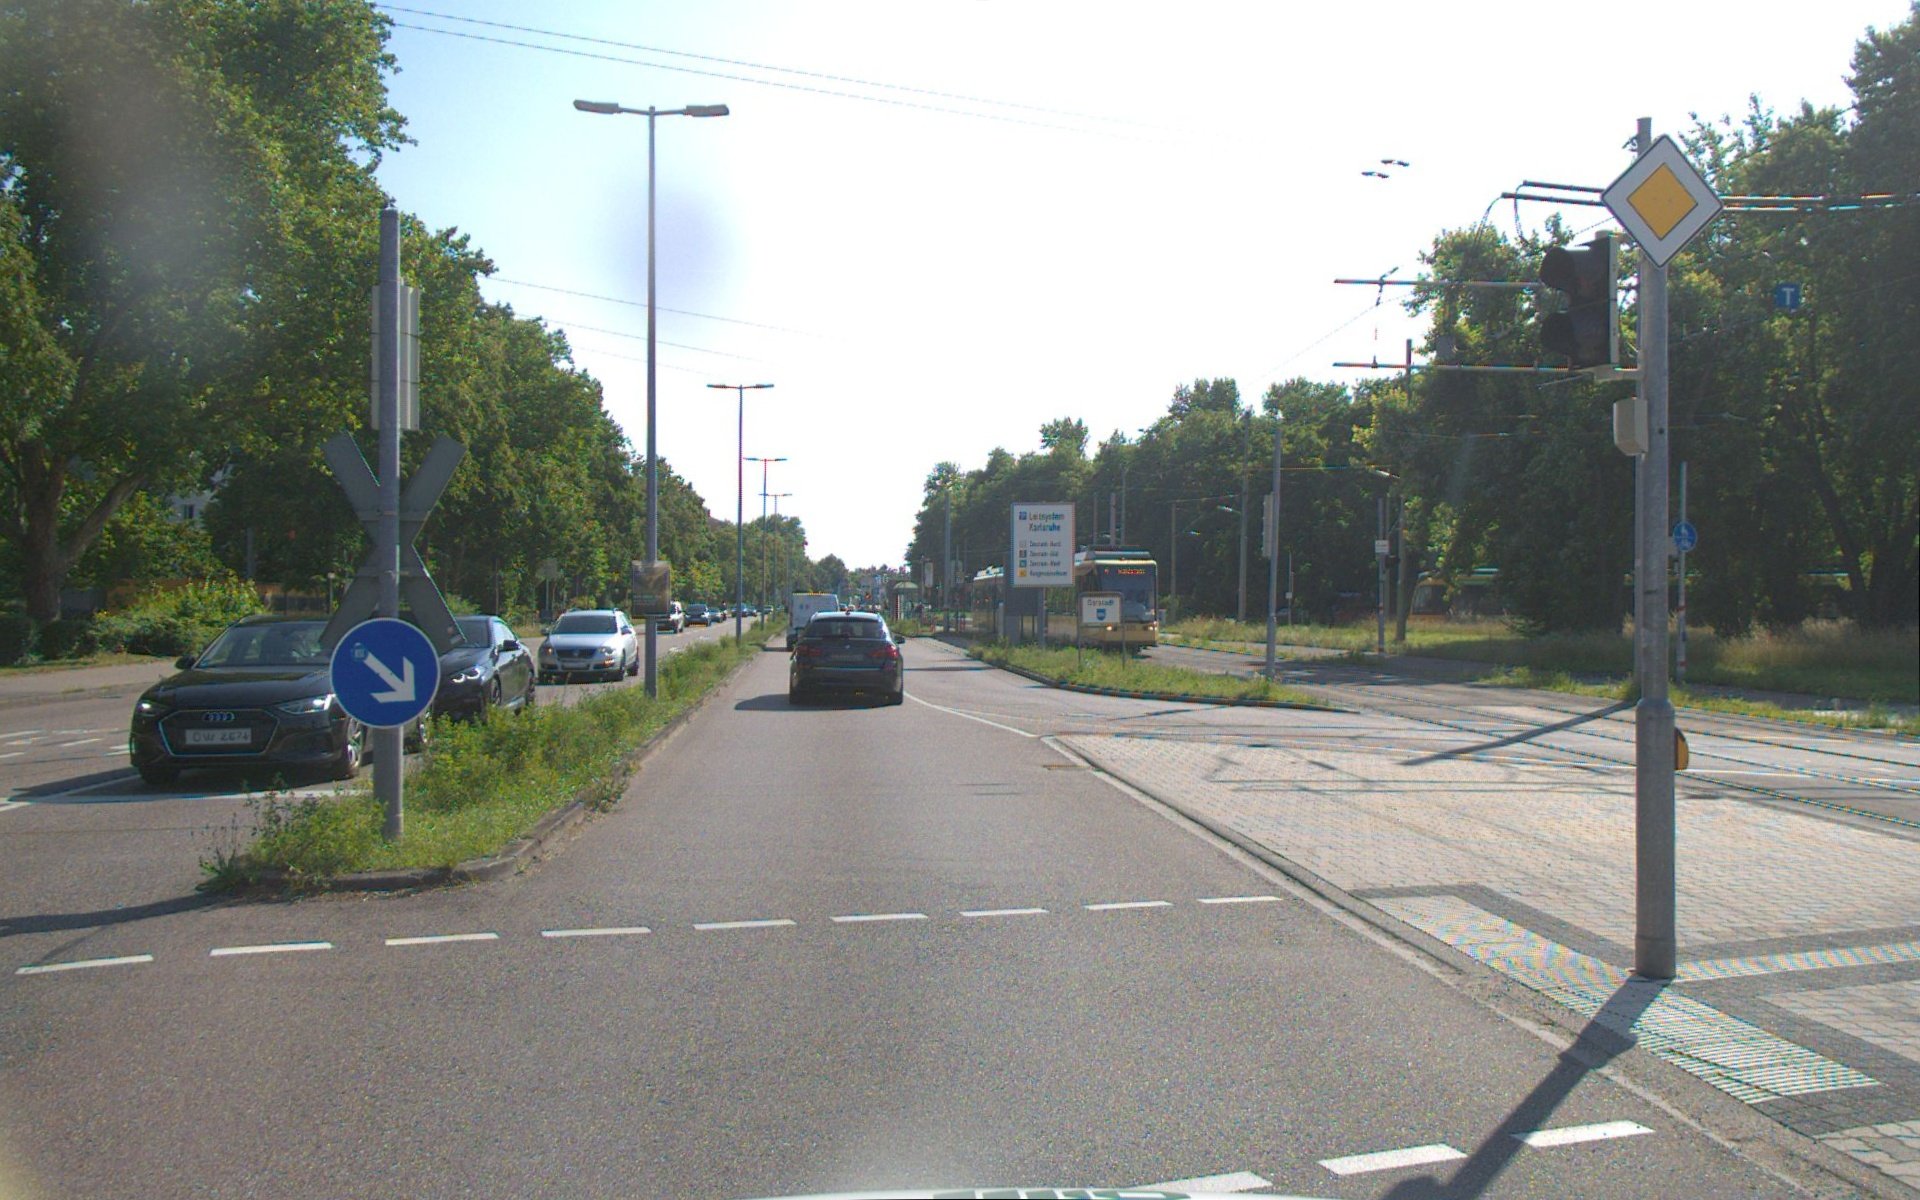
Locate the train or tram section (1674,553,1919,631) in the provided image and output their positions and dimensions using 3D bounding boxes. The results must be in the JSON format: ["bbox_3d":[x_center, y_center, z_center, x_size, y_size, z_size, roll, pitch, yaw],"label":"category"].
[{"bbox_3d":[41.337,-0.372,80.357,11.962,3.642,3.048,0,0,30],"label":"train or tram section"}]

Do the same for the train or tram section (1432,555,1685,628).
[{"bbox_3d":[30.966,-0.428,85.803,12.152,3.642,3.052,0,0,25],"label":"train or tram section"}]

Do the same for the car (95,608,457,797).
[{"bbox_3d":[-6.251,0.836,15.759,1.793,1.456,4.726,-1,0,-5],"label":"car"}]

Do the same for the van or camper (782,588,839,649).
[{"bbox_3d":[-5.427,0.651,60.151,1.955,2.133,4.593,0,0,-5],"label":"van or camper"}]

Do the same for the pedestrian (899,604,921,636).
[{"bbox_3d":[-2.682,1.069,88.439,0.979,1.663,0.720,0,0,27],"label":"pedestrian"}]

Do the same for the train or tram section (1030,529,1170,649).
[{"bbox_3d":[4.637,-0.292,57.993,2.741,3.682,12.942,1,-1,-5],"label":"train or tram section"}]

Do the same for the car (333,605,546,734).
[{"bbox_3d":[-6.718,0.829,21.807,1.794,1.460,4.375,-1,0,-6],"label":"car"}]

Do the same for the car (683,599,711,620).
[{"bbox_3d":[-19.050,0.688,120.009,1.754,1.440,4.381,0,0,-6],"label":"car"}]

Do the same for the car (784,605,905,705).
[{"bbox_3d":[-1.942,0.855,27.541,1.866,1.532,4.061,0,0,-5],"label":"car"}]

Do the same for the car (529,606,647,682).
[{"bbox_3d":[-8.019,0.902,36.018,1.812,1.503,4.642,0,0,-4],"label":"car"}]

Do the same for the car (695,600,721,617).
[{"bbox_3d":[-21.290,0.736,139.856,1.753,1.351,4.732,0,0,-5],"label":"car"}]

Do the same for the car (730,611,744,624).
[{"bbox_3d":[-26.873,2.079,199.636,1.504,1.512,3.995,1,0,-6],"label":"car"}]

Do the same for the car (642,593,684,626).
[{"bbox_3d":[-16.545,0.516,92.331,1.753,1.803,4.566,0,0,-4],"label":"car"}]

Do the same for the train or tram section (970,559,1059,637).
[{"bbox_3d":[2.542,-0.037,83.022,2.632,3.542,14.952,1,-1,-5],"label":"train or tram section"}]
